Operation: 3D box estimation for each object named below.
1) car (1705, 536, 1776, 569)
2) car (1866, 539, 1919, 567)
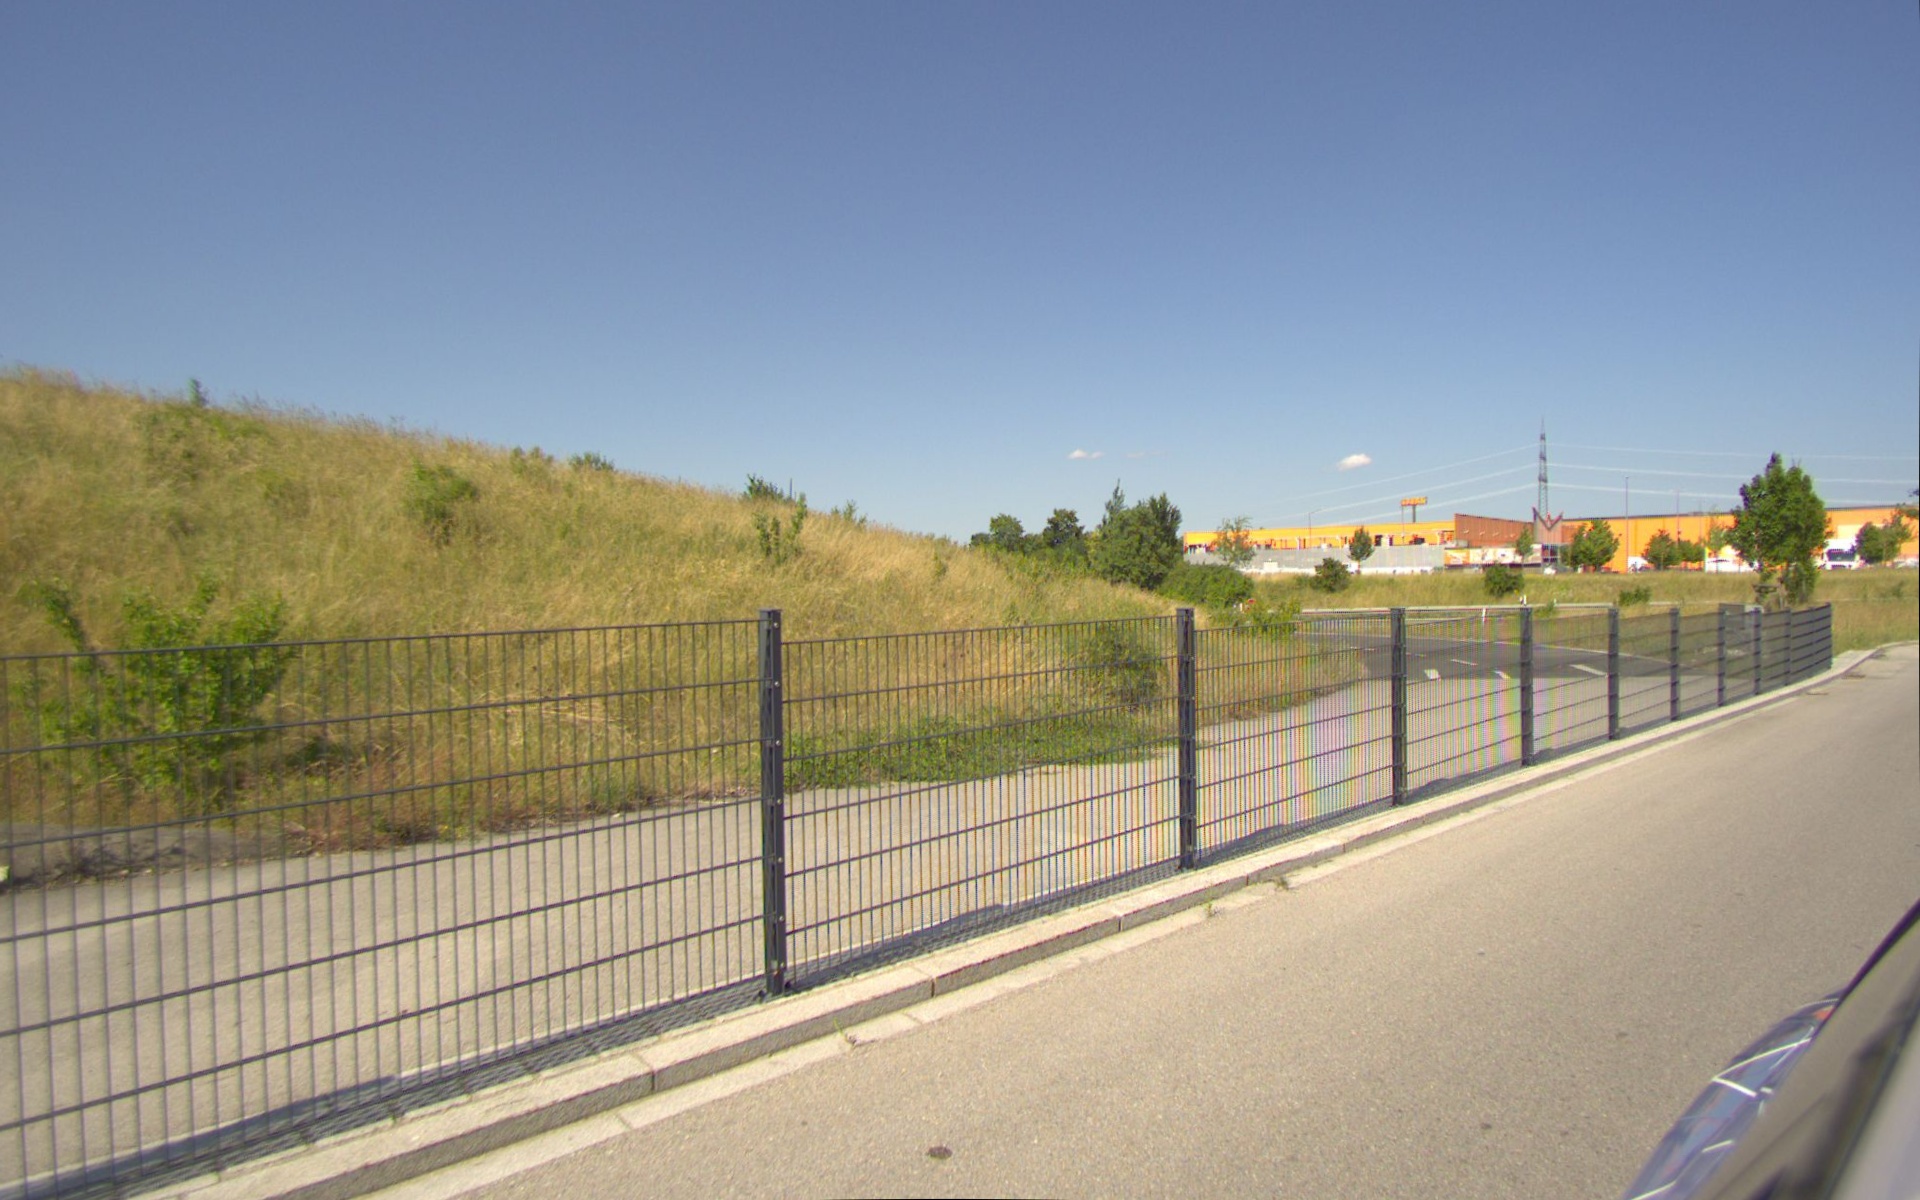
[{"bbox_3d":[65.846,-4.000,85.394,4.619,2.581,1.969,0,0,43],"label":"car"},{"bbox_3d":[72.968,-3.637,78.059,4.619,2.039,1.969,0,0,43],"label":"car"}]
